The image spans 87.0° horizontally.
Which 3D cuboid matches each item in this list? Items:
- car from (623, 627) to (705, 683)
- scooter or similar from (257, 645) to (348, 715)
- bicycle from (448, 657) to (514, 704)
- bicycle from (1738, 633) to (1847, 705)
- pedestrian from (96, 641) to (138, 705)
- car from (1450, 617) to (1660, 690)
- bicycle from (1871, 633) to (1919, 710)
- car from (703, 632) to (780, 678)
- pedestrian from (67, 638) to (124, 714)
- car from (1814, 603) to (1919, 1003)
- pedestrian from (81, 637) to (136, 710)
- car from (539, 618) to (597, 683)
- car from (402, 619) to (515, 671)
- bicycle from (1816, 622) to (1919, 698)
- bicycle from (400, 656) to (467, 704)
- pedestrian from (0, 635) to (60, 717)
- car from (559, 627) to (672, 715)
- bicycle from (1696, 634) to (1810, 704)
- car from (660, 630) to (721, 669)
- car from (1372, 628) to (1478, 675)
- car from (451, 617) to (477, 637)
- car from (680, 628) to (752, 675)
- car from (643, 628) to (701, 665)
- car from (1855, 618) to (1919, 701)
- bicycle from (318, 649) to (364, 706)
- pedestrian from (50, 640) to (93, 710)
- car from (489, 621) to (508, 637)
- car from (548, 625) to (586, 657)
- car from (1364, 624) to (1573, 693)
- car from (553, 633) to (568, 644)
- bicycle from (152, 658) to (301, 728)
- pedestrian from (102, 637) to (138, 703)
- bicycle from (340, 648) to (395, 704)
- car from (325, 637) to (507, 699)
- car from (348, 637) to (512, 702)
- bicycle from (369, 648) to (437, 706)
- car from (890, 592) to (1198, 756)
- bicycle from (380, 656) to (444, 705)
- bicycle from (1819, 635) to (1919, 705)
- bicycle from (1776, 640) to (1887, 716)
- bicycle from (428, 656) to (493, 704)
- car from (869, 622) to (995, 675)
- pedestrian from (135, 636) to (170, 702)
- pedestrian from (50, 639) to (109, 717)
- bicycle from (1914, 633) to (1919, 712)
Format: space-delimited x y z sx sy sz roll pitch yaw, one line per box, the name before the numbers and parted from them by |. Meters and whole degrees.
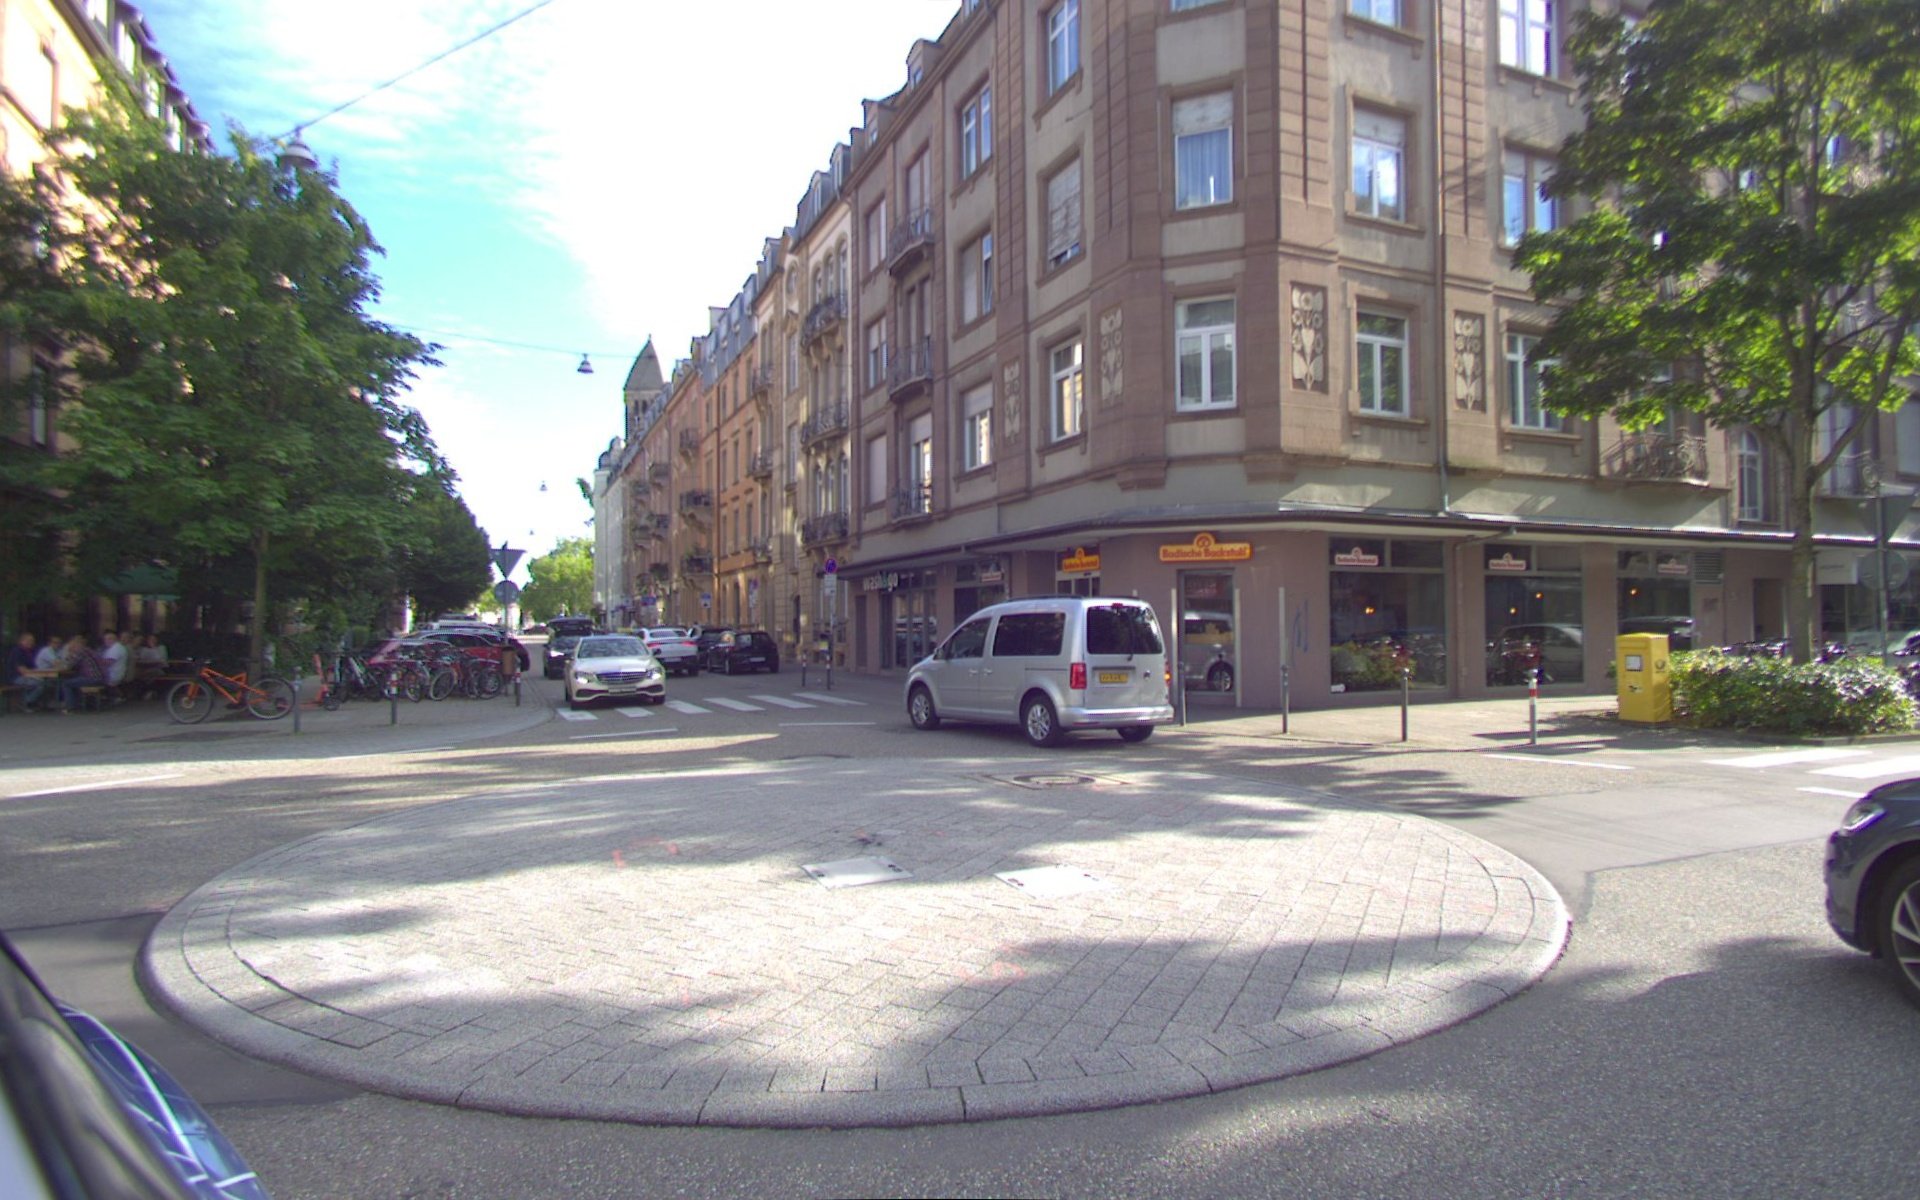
car | -9.897 1.820 33.574 1.965 1.647 4.859 0 -3 -24
scooter or similar | -11.919 1.443 18.360 1.276 1.220 0.555 0 -4 5
bicycle | -11.008 1.823 23.244 1.860 0.993 0.466 0 -3 35
bicycle | 14.123 1.147 17.150 2.389 1.143 0.480 1 -2 -27
pedestrian | -16.853 1.447 20.225 0.621 1.241 0.541 -1 -2 42
car | 14.363 1.272 24.636 1.737 1.563 4.010 -1 -2 -34
bicycle | 15.036 1.083 15.748 2.224 1.143 0.480 1 -2 -27
car | -7.347 1.794 33.777 1.695 1.379 3.842 -1 -2 -24
pedestrian | -15.616 1.361 18.302 0.717 1.325 0.522 1 -3 -36
car | 4.573 0.720 2.185 1.769 1.449 4.006 1 -1 -7
pedestrian | -15.884 1.353 18.900 0.717 1.325 0.609 1 -3 -36
car | -13.516 1.705 34.864 1.763 2.079 4.013 0 -2 -22
car | -25.005 2.213 50.646 1.994 2.441 4.686 -3 -2 33
bicycle | 14.628 0.935 16.216 2.389 1.143 0.480 1 -2 -27
bicycle | -11.608 1.746 22.294 1.860 0.993 0.466 0 -3 35
pedestrian | -16.478 1.321 17.806 0.709 1.389 0.667 -1 -1 10
car | -7.536 1.455 21.830 1.911 1.609 4.852 -1 -2 -23
bicycle | 13.860 1.175 17.663 2.389 1.143 0.581 1 -2 -27
car | -11.518 2.083 43.043 1.732 1.508 4.146 -1 -2 -25
car | 17.648 1.931 38.403 3.570 1.578 1.584 -1 -2 -22
car | -44.677 2.443 91.159 1.819 1.747 4.012 -1 -2 -30
car | -9.291 1.876 38.226 1.830 1.596 4.413 -1 -1 -24
car | -13.642 2.189 47.777 1.732 1.610 4.355 -1 -2 -27
car | 18.660 1.056 18.028 1.550 1.488 3.711 -1 -2 -21
bicycle | -12.837 1.590 20.968 0.427 1.109 1.676 4 -4 -44
pedestrian | -17.449 1.458 19.866 0.621 1.311 0.541 -1 -2 42
car | -56.886 3.618 124.686 1.965 1.903 4.013 -1 -2 -22
car | -25.210 2.637 64.821 1.911 1.894 4.852 -1 -2 -26
car | 11.813 1.338 23.745 1.737 1.441 4.010 -1 -2 -34
car | -50.197 4.858 127.056 1.598 1.389 3.773 0 -2 -24
bicycle | -11.775 1.477 16.311 1.825 1.043 0.686 1 -2 -25
pedestrian | -17.383 1.435 20.943 0.621 1.337 0.460 -1 -2 42
bicycle | -12.516 1.589 21.367 1.674 1.109 0.469 -1 -3 41
car | -13.140 1.640 24.596 1.512 1.391 3.539 -1 -4 40
car | -14.093 1.842 27.027 1.513 1.628 3.537 -2 -4 42
bicycle | -11.823 1.619 21.459 1.834 1.152 0.469 -1 -3 35
car | 0.920 0.922 13.524 1.804 1.805 4.342 2 -3 -33
bicycle | -11.873 1.724 21.912 1.834 0.993 0.413 0 -3 35
bicycle | 15.549 1.149 16.961 2.469 1.110 0.711 1 -3 -24
bicycle | 14.369 1.257 16.665 2.389 1.143 0.480 0 -2 -27
bicycle | -11.327 1.790 22.926 1.860 0.993 0.466 0 -3 35
car | -0.978 1.683 35.708 3.933 1.633 2.005 -1 -2 -33
pedestrian | -16.721 1.411 20.955 0.621 1.337 0.460 -1 -2 42
pedestrian | -15.452 1.359 17.772 0.717 1.325 0.522 1 -3 -36
bicycle | 15.268 1.070 15.292 2.252 1.166 0.480 1 -2 -27
